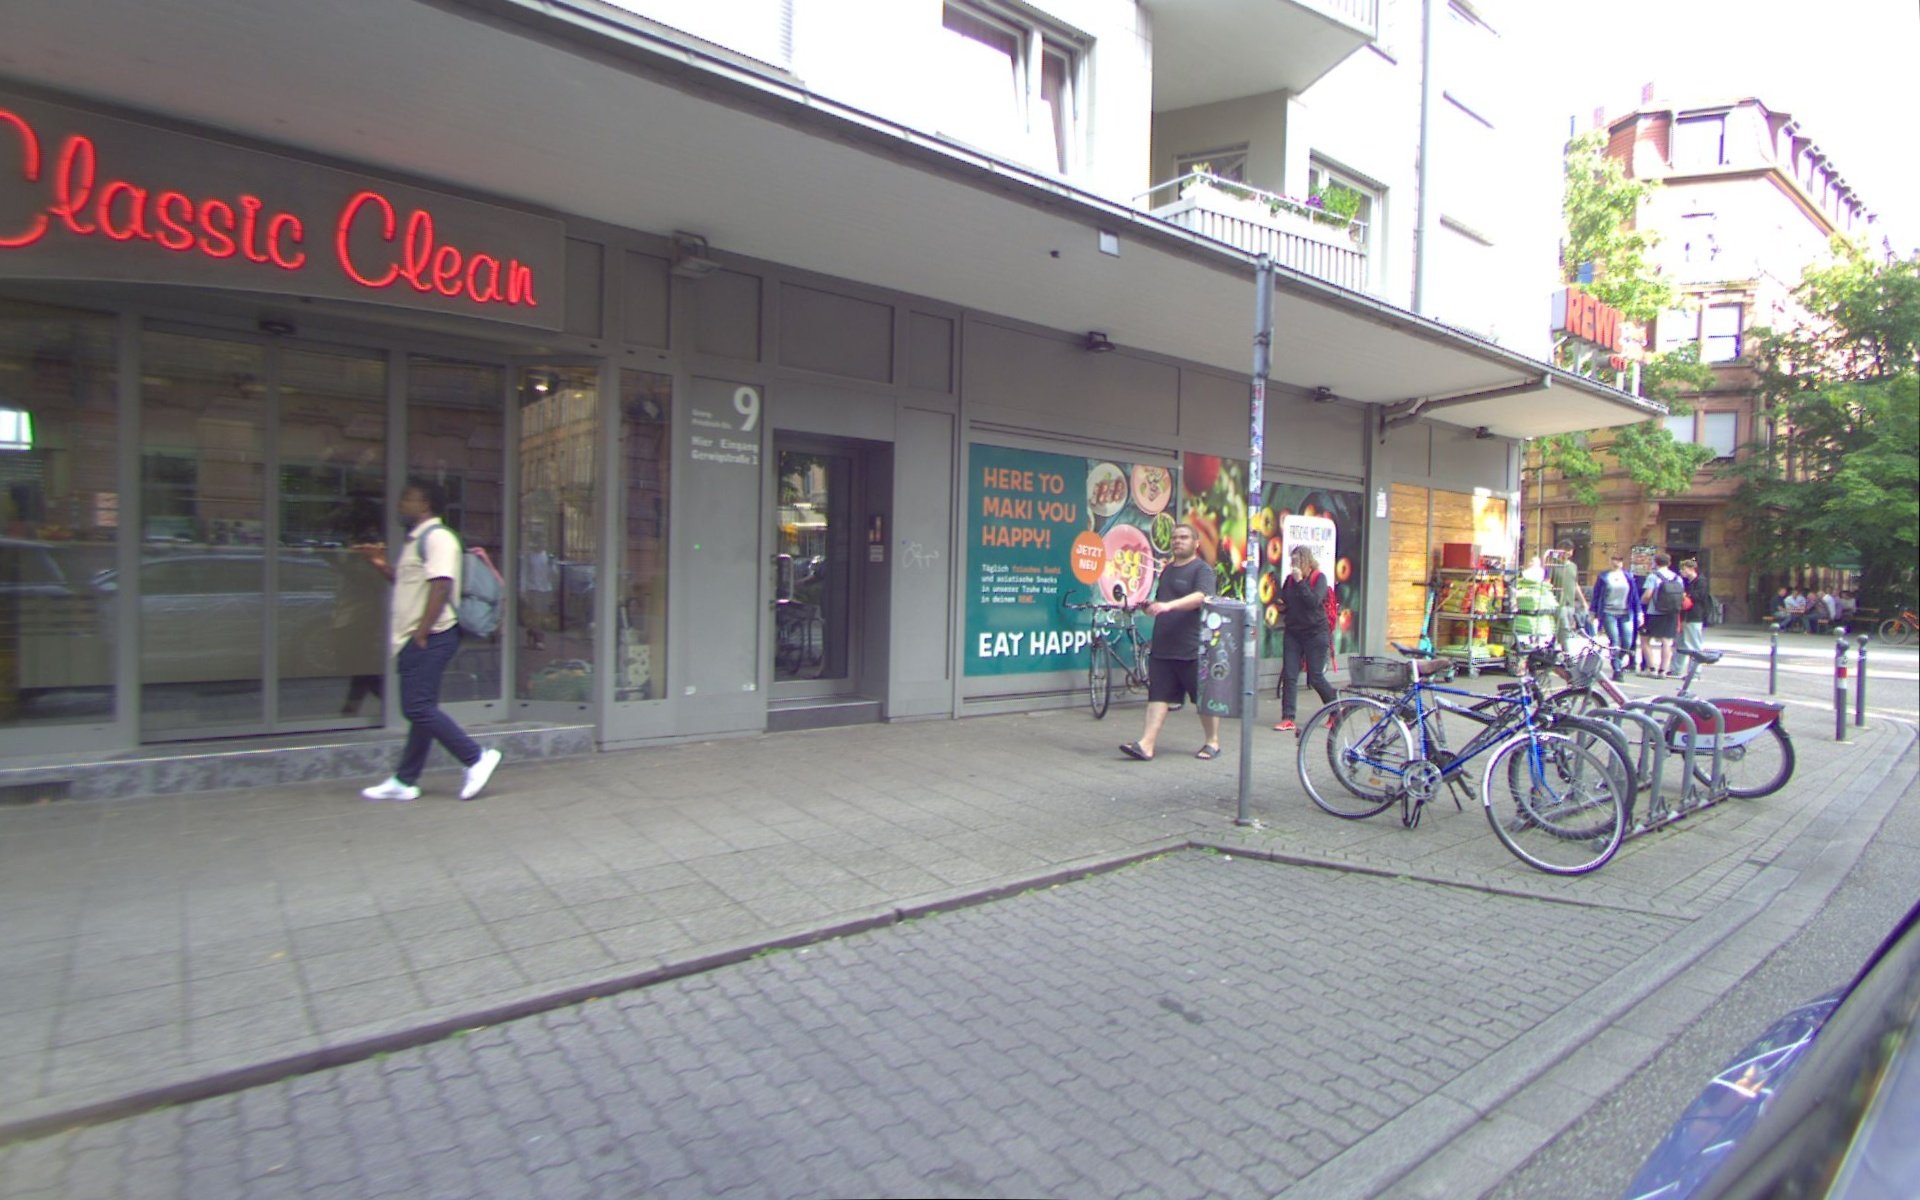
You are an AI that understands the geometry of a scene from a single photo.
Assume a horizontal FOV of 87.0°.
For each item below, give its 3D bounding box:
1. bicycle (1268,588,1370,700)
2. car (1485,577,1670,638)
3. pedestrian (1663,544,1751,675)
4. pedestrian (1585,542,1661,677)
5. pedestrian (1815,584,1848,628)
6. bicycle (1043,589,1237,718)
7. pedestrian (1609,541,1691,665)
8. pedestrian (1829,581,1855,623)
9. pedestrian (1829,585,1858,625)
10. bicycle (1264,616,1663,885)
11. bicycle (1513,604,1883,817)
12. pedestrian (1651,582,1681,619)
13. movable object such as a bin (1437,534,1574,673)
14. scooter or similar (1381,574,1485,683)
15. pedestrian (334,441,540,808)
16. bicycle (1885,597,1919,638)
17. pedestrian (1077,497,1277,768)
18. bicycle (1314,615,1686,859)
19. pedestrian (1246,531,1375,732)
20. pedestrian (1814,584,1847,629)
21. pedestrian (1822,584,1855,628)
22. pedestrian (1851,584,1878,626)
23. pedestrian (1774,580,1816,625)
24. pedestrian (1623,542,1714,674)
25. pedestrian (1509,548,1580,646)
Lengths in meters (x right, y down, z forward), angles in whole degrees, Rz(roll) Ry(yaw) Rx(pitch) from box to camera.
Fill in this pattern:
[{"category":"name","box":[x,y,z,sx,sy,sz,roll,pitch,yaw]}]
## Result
[{"category":"bicycle","box":[3.922,0.431,10.995,0.673,1.055,1.715,2,3,32]},{"category":"car","box":[16.918,0.142,27.878,1.764,1.455,3.999,-3,4,-36]},{"category":"pedestrian","box":[10.859,0.116,14.738,0.705,1.818,0.629,5,3,17]},{"category":"pedestrian","box":[9.133,0.112,13.931,0.761,1.775,0.918,2,1,38]},{"category":"pedestrian","box":[26.840,0.174,31.167,0.726,1.331,0.513,2,1,40]},{"category":"bicycle","box":[1.674,0.443,9.272,1.751,1.027,0.744,0,4,-39]},{"category":"pedestrian","box":[10.541,0.044,15.479,0.645,1.818,0.657,3,3,-25]},{"category":"pedestrian","box":[29.070,0.070,33.363,0.462,1.343,0.616,2,2,28]},{"category":"pedestrian","box":[28.520,0.146,32.676,0.543,1.247,0.616,2,3,28]},{"category":"bicycle","box":[2.641,0.706,5.466,1.788,1.083,0.578,5,3,42]},{"category":"bicycle","box":[5.124,0.674,7.141,0.891,1.138,1.888,0,4,-40]},{"category":"pedestrian","box":[24.972,0.011,35.806,0.628,1.274,0.513,0,3,-6]},{"category":"movable object such as a bin","box":[7.539,0.022,13.928,2.380,1.766,0.781,0,2,-40]},{"category":"scooter or similar","box":[5.758,0.326,12.298,1.234,1.227,0.633,0,4,-41]},{"category":"pedestrian","box":[-2.798,0.098,5.401,0.802,1.768,0.715,1,4,-40]},{"category":"bicycle","box":[25.941,0.490,26.936,0.671,1.047,1.856,0,3,-38]},{"category":"pedestrian","box":[1.549,0.183,7.235,1.030,1.768,0.851,1,4,-40]},{"category":"bicycle","box":[3.082,0.708,5.919,1.788,1.083,0.560,5,3,42]},{"category":"pedestrian","box":[3.078,0.246,8.902,0.700,1.652,0.724,1,4,-40]},{"category":"pedestrian","box":[26.486,0.190,30.800,0.726,1.331,0.513,2,1,40]},{"category":"pedestrian","box":[27.378,0.180,31.541,0.726,1.331,0.599,2,1,40]},{"category":"pedestrian","box":[29.261,0.152,32.747,0.462,1.343,0.616,2,2,28]},{"category":"pedestrian","box":[26.274,0.071,31.846,0.656,1.395,0.718,1,2,-3]},{"category":"pedestrian","box":[10.244,0.102,14.653,0.620,1.818,0.716,4,3,-5]},{"category":"pedestrian","box":[11.568,-0.092,20.080,0.875,1.856,1.042,3,3,16]}]
